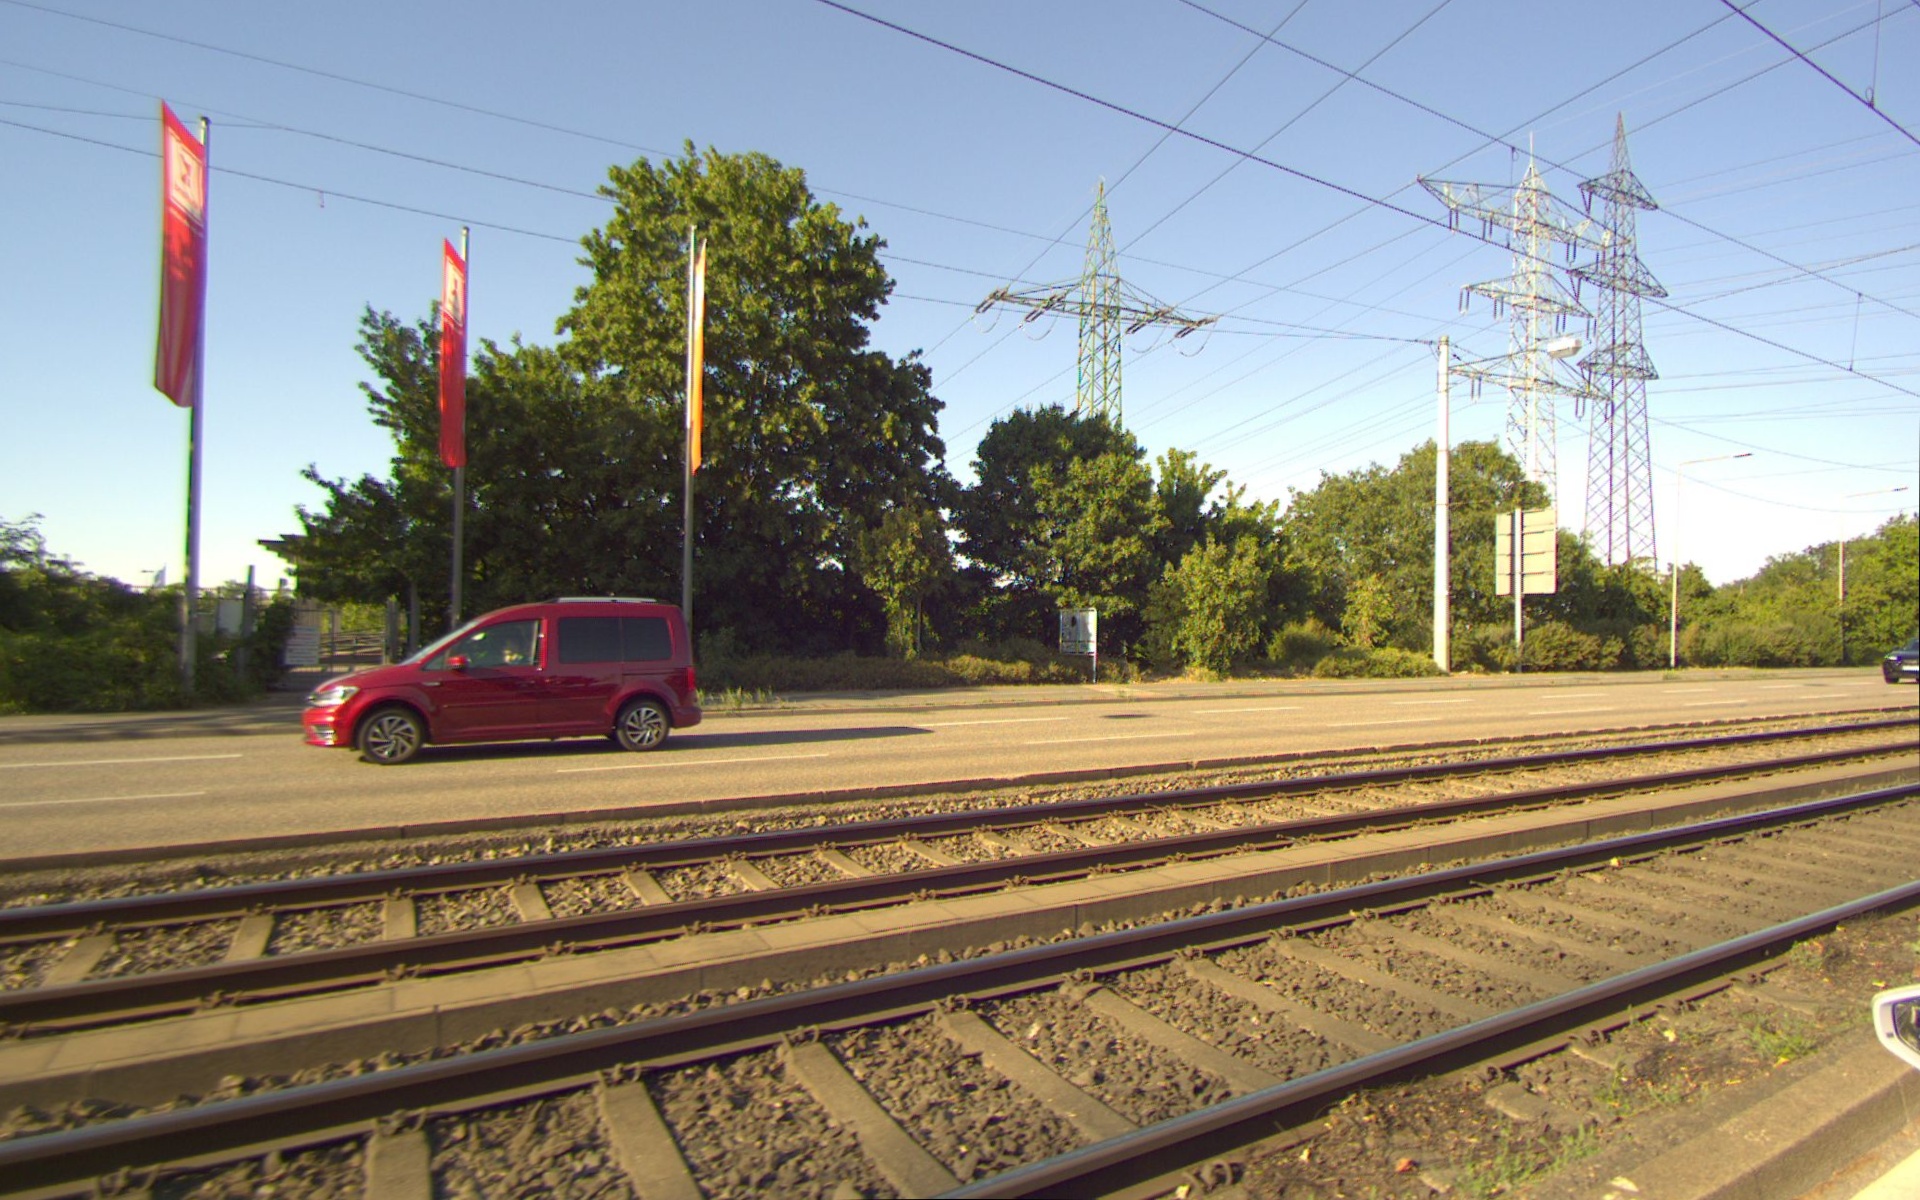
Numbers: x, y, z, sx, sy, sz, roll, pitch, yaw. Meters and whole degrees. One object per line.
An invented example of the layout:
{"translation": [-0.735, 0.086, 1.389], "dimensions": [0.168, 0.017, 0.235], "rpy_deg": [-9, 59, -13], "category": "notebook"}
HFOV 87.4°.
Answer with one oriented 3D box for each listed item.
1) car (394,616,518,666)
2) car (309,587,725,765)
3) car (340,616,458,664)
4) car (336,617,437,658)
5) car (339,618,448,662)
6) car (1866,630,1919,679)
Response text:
{"translation": [-18.590, 1.519, 37.114], "dimensions": [3.952, 1.706, 1.984], "rpy_deg": [2, 0, -30], "category": "car"}
{"translation": [-5.279, 0.879, 12.259], "dimensions": [4.299, 1.819, 1.984], "rpy_deg": [2, -3, -30], "category": "car"}
{"translation": [-21.473, 1.545, 38.570], "dimensions": [3.850, 1.706, 1.778], "rpy_deg": [2, 0, -30], "category": "car"}
{"translation": [-26.010, 1.704, 45.659], "dimensions": [3.850, 1.706, 1.778], "rpy_deg": [2, 0, -30], "category": "car"}
{"translation": [-23.682, 1.695, 42.083], "dimensions": [3.850, 1.706, 1.778], "rpy_deg": [2, 0, -30], "category": "car"}
{"translation": [33.777, 1.901, 34.947], "dimensions": [4.627, 1.646, 1.985], "rpy_deg": [2, -3, -29], "category": "car"}
